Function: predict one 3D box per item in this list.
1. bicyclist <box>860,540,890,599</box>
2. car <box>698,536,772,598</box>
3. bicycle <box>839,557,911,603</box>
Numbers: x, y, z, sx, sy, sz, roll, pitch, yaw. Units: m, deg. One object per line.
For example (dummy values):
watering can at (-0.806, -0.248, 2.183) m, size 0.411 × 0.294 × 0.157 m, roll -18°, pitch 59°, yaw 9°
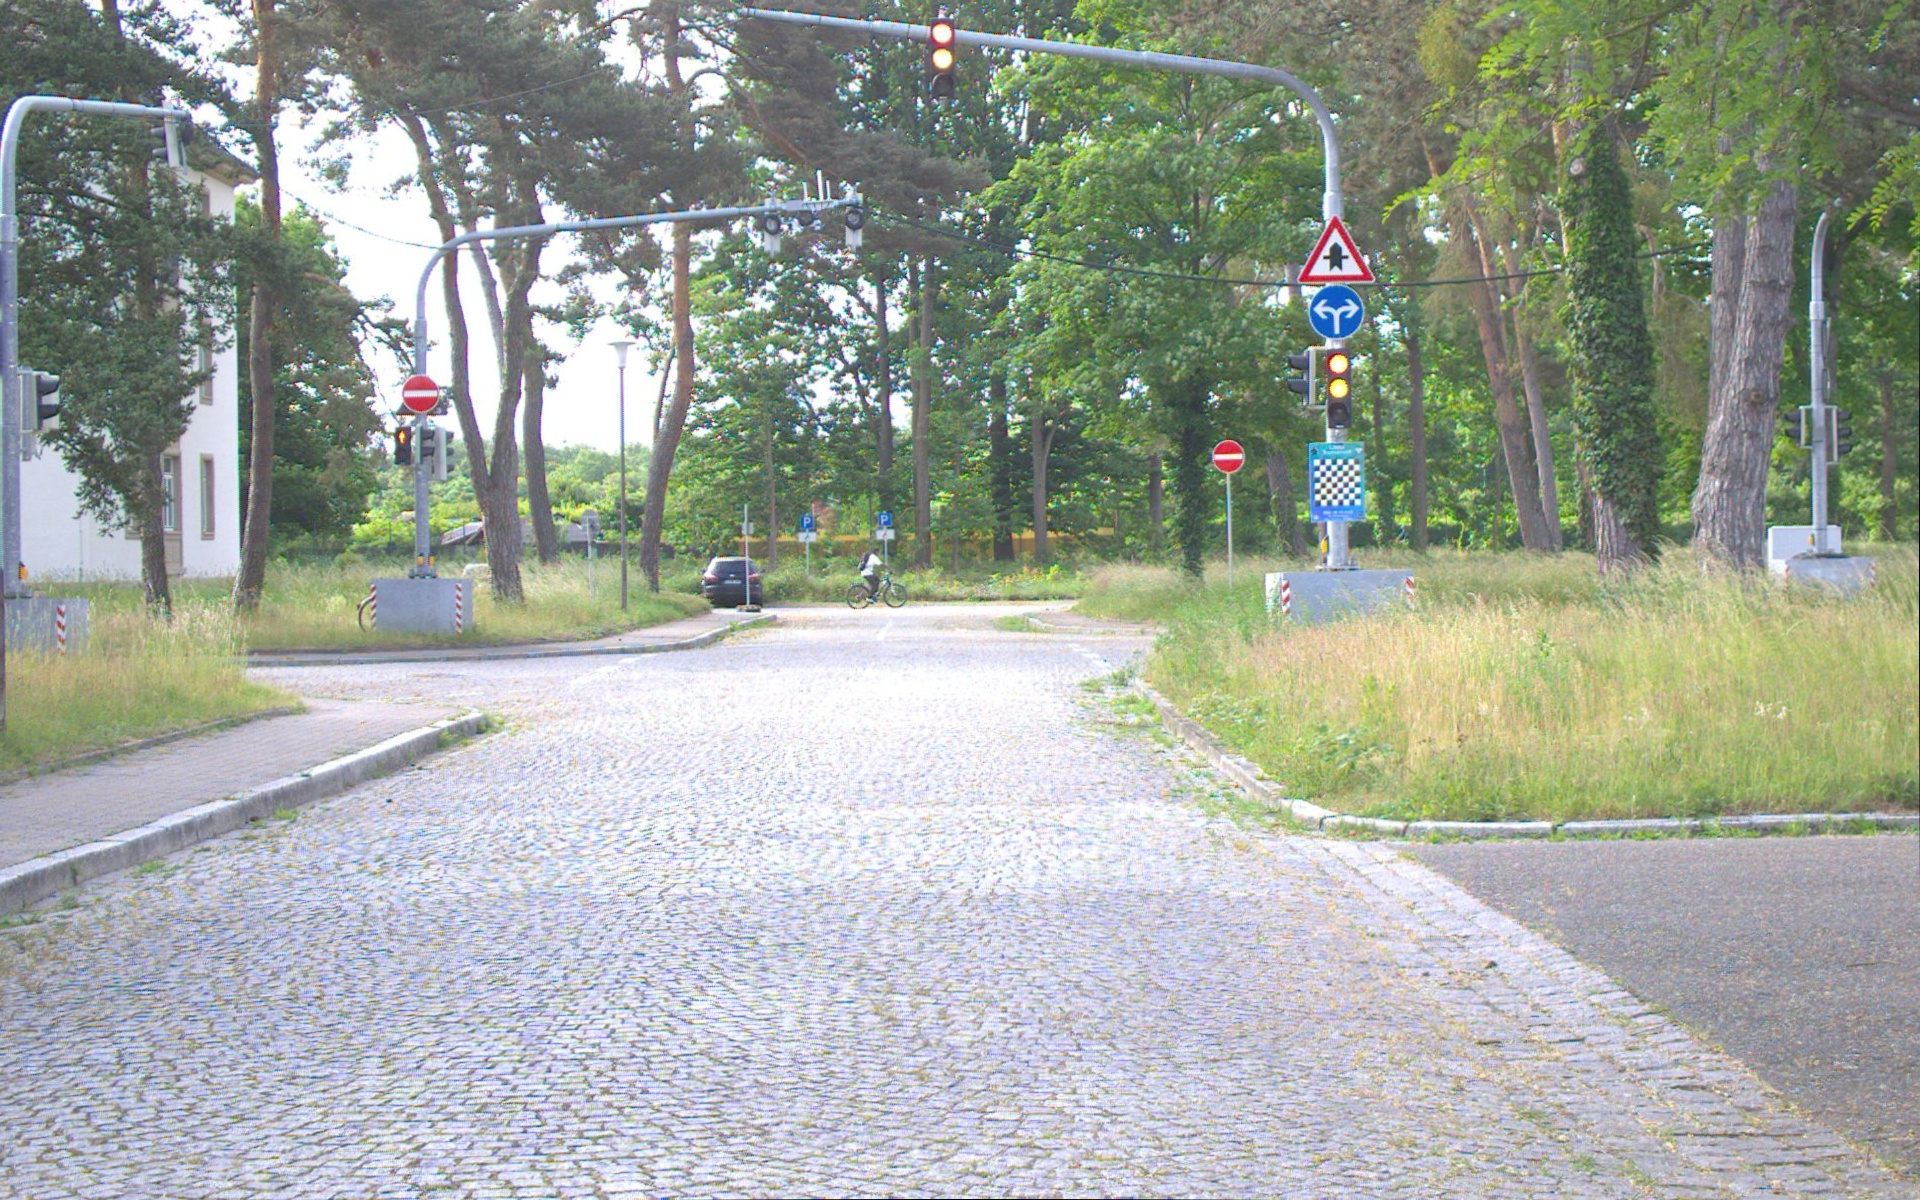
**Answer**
bicyclist at (-2.431, -0.880, 98.497) m, size 0.748 × 1.665 × 0.526 m, roll 1°, pitch 0°, yaw -14°
car at (-6.857, -1.018, 104.997) m, size 2.056 × 1.840 × 4.000 m, roll -1°, pitch 1°, yaw -1°
bicycle at (-2.437, -0.574, 98.504) m, size 1.968 × 1.316 × 0.518 m, roll 1°, pitch 0°, yaw -14°
